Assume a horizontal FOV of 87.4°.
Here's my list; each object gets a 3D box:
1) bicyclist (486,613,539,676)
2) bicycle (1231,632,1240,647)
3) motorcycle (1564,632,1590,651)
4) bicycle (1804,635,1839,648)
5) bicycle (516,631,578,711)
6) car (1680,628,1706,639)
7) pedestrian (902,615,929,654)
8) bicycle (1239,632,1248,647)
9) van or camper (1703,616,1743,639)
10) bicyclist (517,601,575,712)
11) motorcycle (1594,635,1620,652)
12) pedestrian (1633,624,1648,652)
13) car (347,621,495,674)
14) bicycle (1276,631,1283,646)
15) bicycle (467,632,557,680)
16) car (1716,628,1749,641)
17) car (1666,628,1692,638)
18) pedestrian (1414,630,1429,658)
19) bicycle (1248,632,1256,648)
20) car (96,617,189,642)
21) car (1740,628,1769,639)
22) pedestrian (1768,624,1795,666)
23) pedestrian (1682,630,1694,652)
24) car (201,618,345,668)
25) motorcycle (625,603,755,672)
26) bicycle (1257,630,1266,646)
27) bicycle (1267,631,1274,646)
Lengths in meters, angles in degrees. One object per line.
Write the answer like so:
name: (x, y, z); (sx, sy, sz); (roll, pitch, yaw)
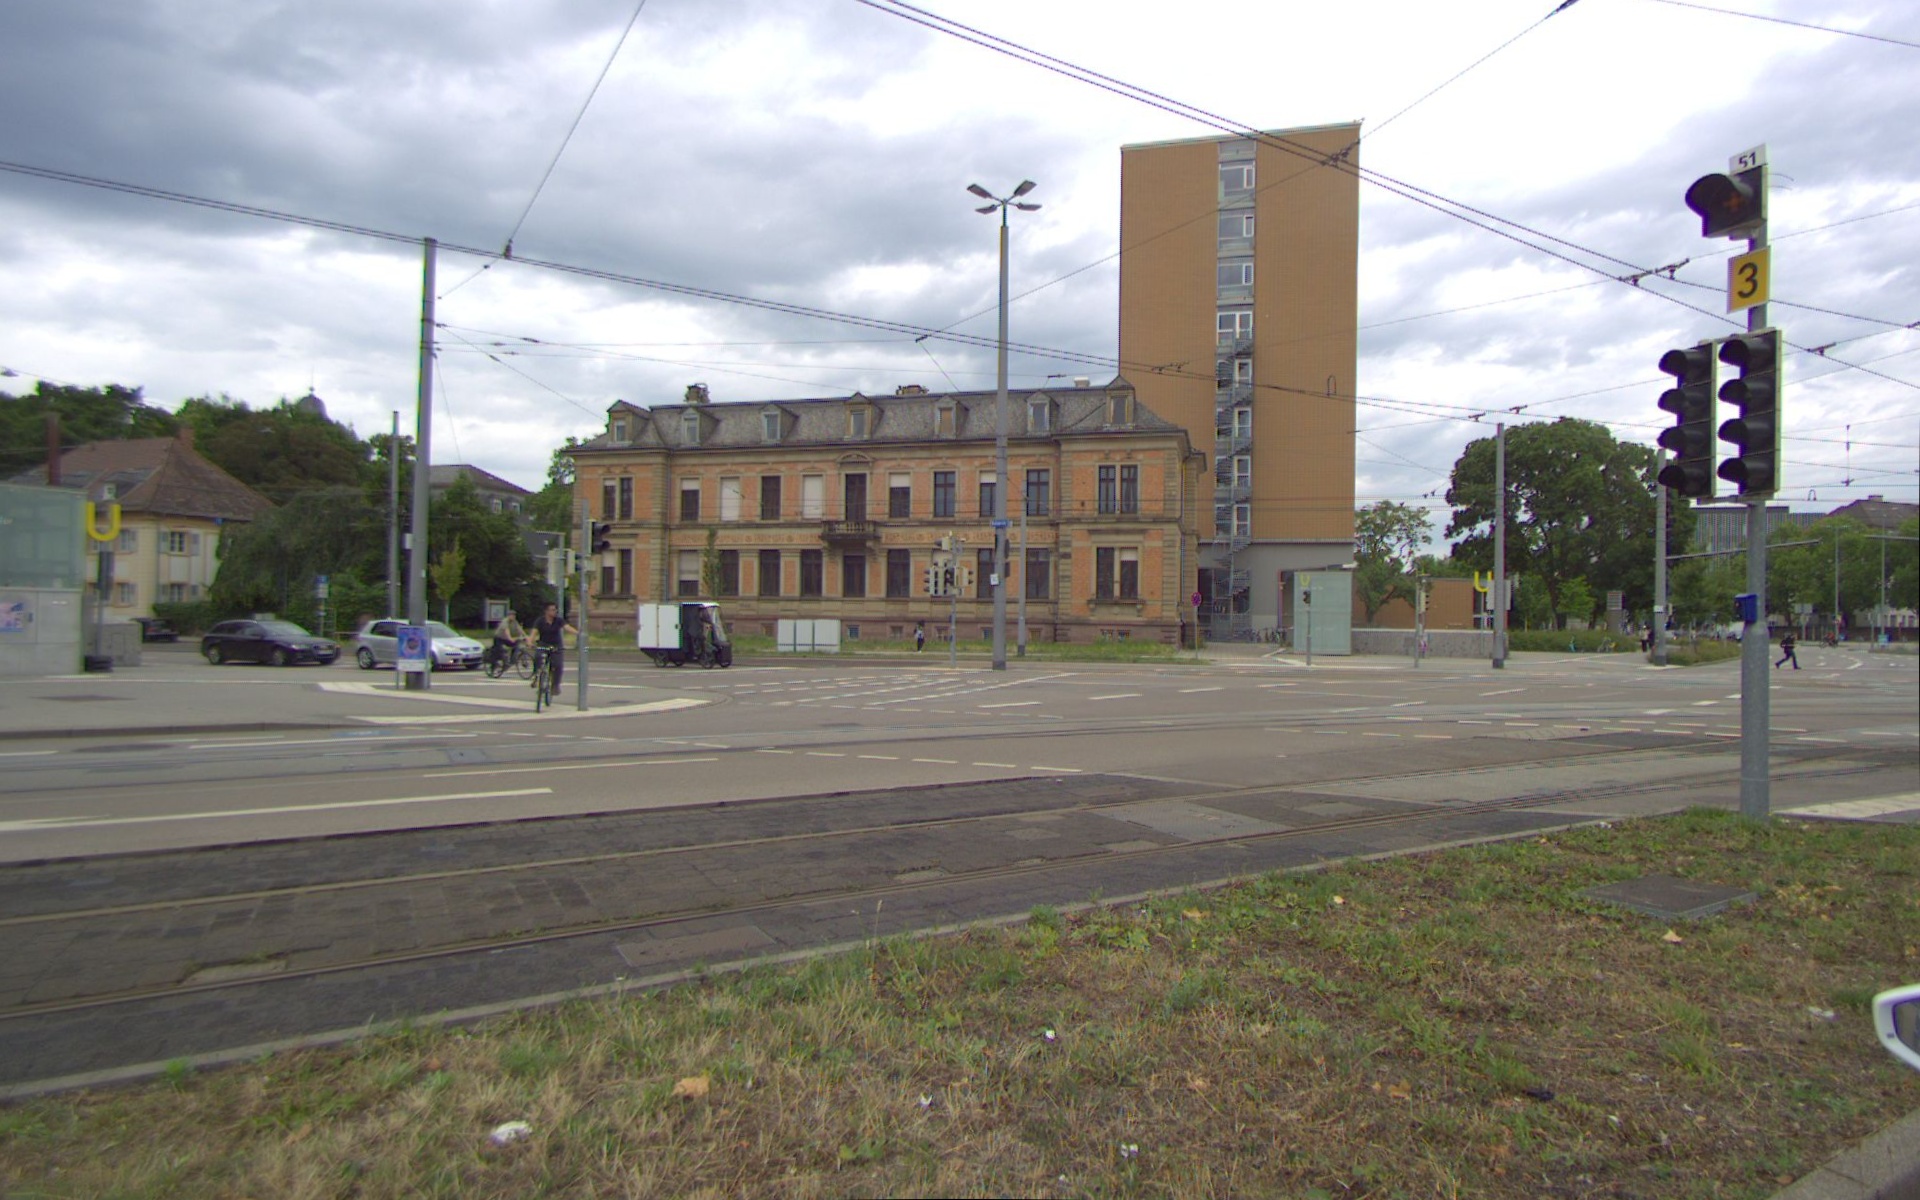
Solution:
bicyclist: (-11.852, 1.168, 26.608); (0.899, 1.644, 0.855); (0, -1, 20)
bicycle: (20.431, 2.909, 74.478); (0.561, 1.120, 1.428); (1, -1, 18)
motorcycle: (41.585, 2.804, 67.716); (1.443, 1.285, 0.512); (1, -1, 14)
bicycle: (84.536, 4.092, 98.616); (2.676, 1.194, 0.942); (1, -1, -1)
bicycle: (-7.050, 1.170, 17.091); (0.805, 1.259, 1.986); (0, -2, -27)
car: (109.929, 5.058, 150.622); (1.746, 1.483, 4.002); (1, 0, 15)
pedestrian: (-2.096, 1.618, 47.474); (1.104, 1.786, 0.759); (1, -1, 8)
bicycle: (20.995, 2.912, 74.305); (0.561, 1.120, 1.428); (1, -1, 18)
van or camper: (108.259, 3.831, 142.518); (2.347, 3.165, 5.507); (1, -1, 12)
bicyclist: (-7.081, 0.939, 17.160); (0.805, 1.822, 1.022); (0, 0, -28)
motorcycle: (43.688, 2.946, 67.842); (1.716, 1.126, 0.510); (1, -1, -17)
pedestrian: (49.113, 2.750, 72.481); (0.781, 2.007, 0.880); (1, -2, 26)
car: (-16.241, 1.385, 30.261); (4.081, 1.473, 1.761); (0, -1, 23)
bicycle: (23.399, 2.800, 73.646); (0.472, 1.063, 1.428); (1, -1, 18)
bicycle: (-11.862, 1.468, 26.600); (2.154, 1.224, 0.857); (0, -2, 20)
car: (95.031, 4.260, 123.631); (1.746, 1.483, 4.002); (1, -1, 14)
car: (113.896, 5.272, 159.141); (1.745, 1.483, 4.002); (1, 0, 11)
pedestrian: (23.169, 2.211, 50.448); (0.562, 1.353, 0.499); (1, -1, 10)
bicycle: (21.557, 2.929, 74.135); (0.561, 1.120, 1.428); (1, -1, 18)
car: (-45.030, 1.605, 55.355); (3.919, 1.305, 1.936); (1, -1, 12)
car: (110.841, 4.680, 140.227); (1.746, 1.483, 4.001); (1, 0, 16)
pedestrian: (40.281, 2.188, 49.255); (1.009, 2.040, 0.842); (0, -1, 41)
pedestrian: (67.678, 3.816, 93.363); (0.868, 2.007, 0.792); (0, -2, 42)
car: (-22.039, 1.357, 32.231); (4.061, 1.468, 1.697); (1, -1, 18)
motorcycle: (-8.475, 1.136, 31.577); (3.614, 2.040, 1.696); (0, -1, 19)
bicycle: (22.201, 2.805, 73.968); (0.561, 1.120, 1.428); (1, -1, 18)
bicycle: (22.825, 2.814, 73.770); (0.500, 1.063, 1.428); (1, -1, 18)
